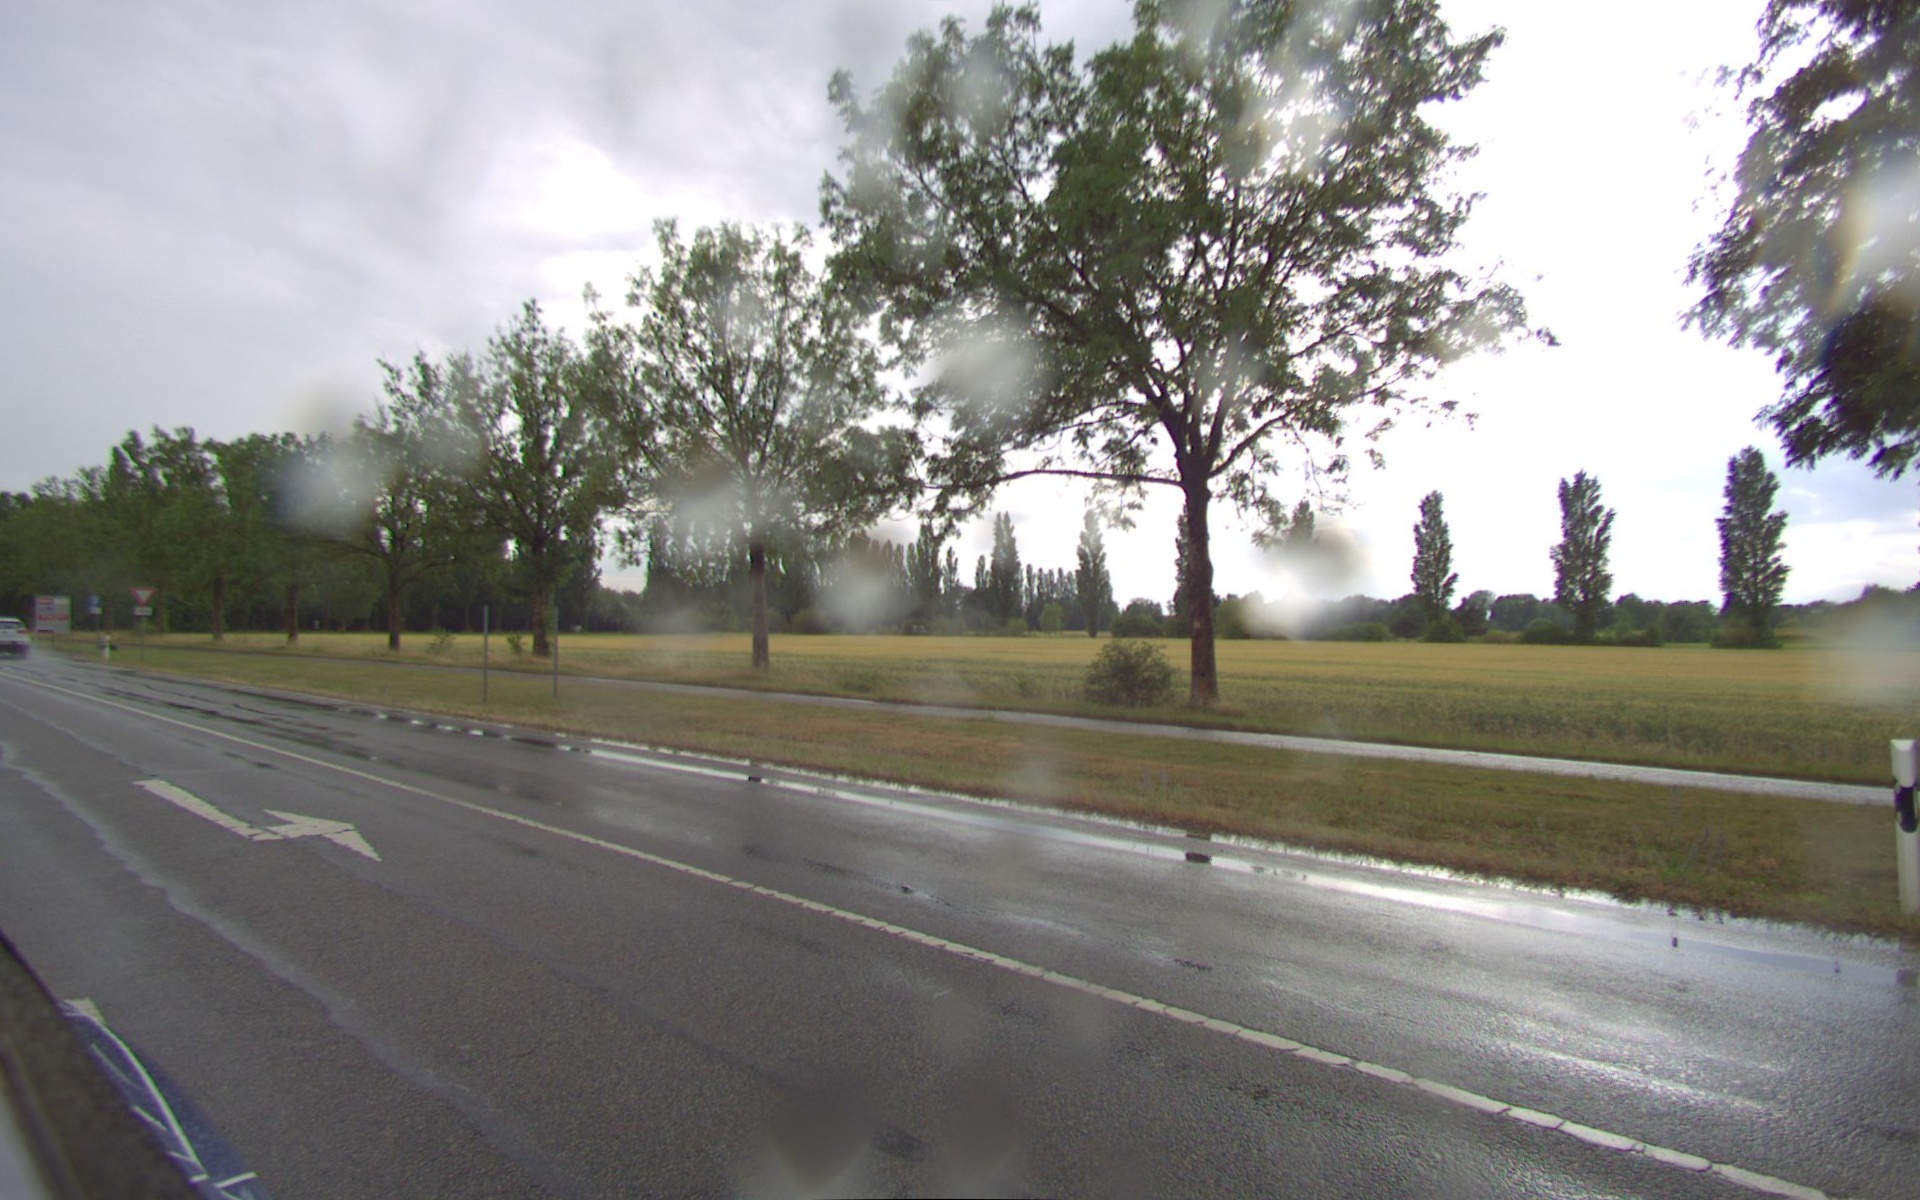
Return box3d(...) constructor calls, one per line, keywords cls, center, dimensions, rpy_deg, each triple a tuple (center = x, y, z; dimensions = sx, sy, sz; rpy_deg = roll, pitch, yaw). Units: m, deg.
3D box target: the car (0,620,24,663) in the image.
box3d(cls="car", center=(-39.965, 1.684, 41.662), dimensions=(4.155, 1.684, 1.685), rpy_deg=(-1, -4, 42))
